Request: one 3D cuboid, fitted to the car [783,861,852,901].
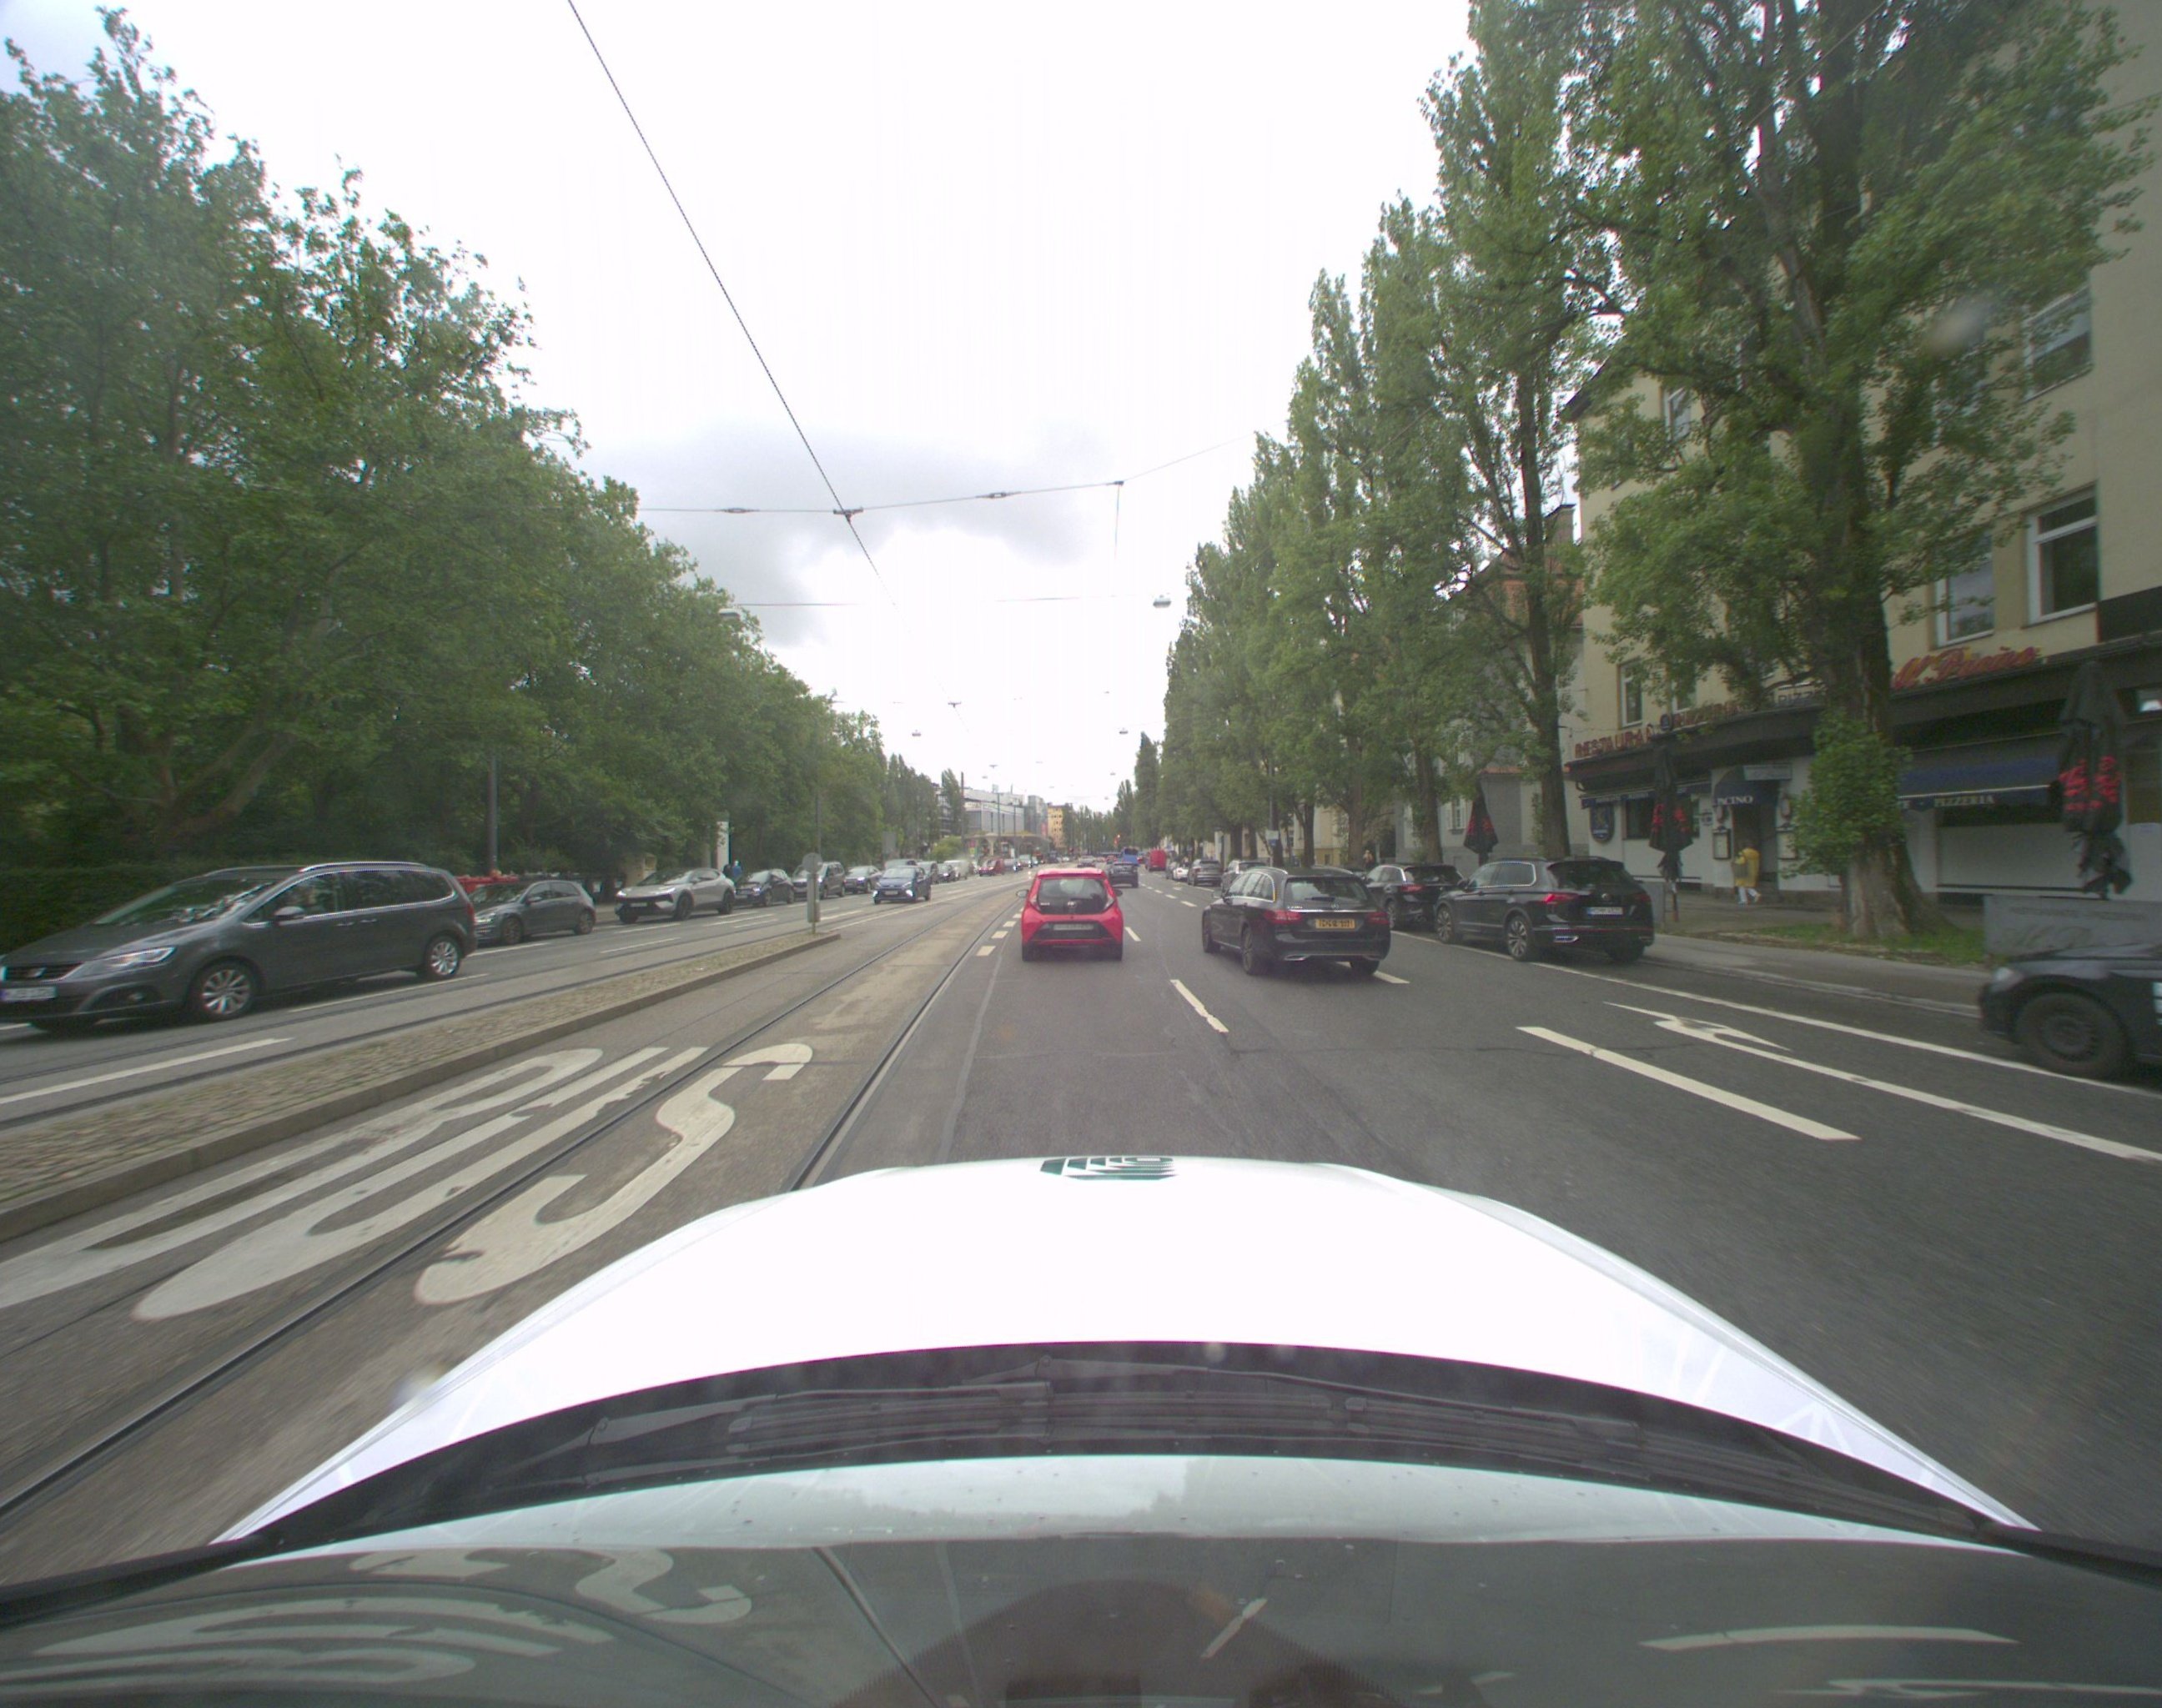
[{"bbox_3d":[-12.944,1.286,40.285,1.793,1.779,4.473,-2,-1,1],"label":"car"}]

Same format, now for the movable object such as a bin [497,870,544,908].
[{"bbox_3d":[-20.888,1.296,30.365,0.932,1.353,1.081,3,-1,-3],"label":"movable object such as a bin"}]

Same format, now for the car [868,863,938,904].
[{"bbox_3d":[-7.225,1.176,33.534,1.793,1.523,4.355,-2,-1,1],"label":"car"}]

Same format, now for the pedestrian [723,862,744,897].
[{"bbox_3d":[-17.804,1.309,41.744,0.660,1.790,0.820,0,-1,9],"label":"pedestrian"}]

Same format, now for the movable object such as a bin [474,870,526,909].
[{"bbox_3d":[-20.721,1.246,29.089,0.932,1.353,1.276,1,-1,-3],"label":"movable object such as a bin"}]

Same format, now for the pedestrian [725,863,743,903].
[{"bbox_3d":[-17.786,1.466,41.720,0.584,2.014,0.677,-1,-1,1],"label":"pedestrian"}]

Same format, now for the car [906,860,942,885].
[{"bbox_3d":[-12.122,1.431,63.145,1.793,1.788,4.520,-3,-1,1],"label":"car"}]

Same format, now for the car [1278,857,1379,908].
[{"bbox_3d":[7.580,0.828,25.346,1.793,1.398,4.381,-1,0,0],"label":"car"}]

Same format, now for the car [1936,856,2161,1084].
[{"bbox_3d":[7.955,0.747,4.679,1.795,1.466,3.995,-1,0,-3],"label":"car"}]

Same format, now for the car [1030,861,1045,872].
[{"bbox_3d":[-6.898,1.965,130.883,1.791,1.665,4.523,-3,-1,4],"label":"car"}]

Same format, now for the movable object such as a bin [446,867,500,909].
[{"bbox_3d":[-20.635,1.129,27.667,0.932,1.353,1.127,2,-1,-3],"label":"movable object such as a bin"}]

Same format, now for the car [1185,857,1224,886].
[{"bbox_3d":[7.809,1.068,51.845,1.793,1.743,4.699,-1,0,0],"label":"car"}]

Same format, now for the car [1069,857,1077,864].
[{"bbox_3d":[-1.900,1.471,191.435,1.774,1.486,4.001,-1,-1,1],"label":"car"}]

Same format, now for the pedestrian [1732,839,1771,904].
[{"bbox_3d":[16.608,0.426,20.171,0.571,1.562,0.496,-1,1,1],"label":"pedestrian"}]

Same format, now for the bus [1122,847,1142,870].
[{"bbox_3d":[8.362,0.611,134.280,2.895,3.395,10.809,-1,1,1],"label":"bus"}]

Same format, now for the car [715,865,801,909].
[{"bbox_3d":[-13.568,1.325,34.512,1.793,1.667,4.355,-2,-1,1],"label":"car"}]

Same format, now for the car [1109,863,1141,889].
[{"bbox_3d":[2.615,1.302,49.087,1.774,1.486,4.001,-1,-1,1],"label":"car"}]

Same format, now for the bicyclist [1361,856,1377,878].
[{"bbox_3d":[17.533,0.797,49.589,0.658,1.314,0.705,-1,-1,-1],"label":"bicyclist"}]

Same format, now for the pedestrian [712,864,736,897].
[{"bbox_3d":[-18.389,1.357,42.010,0.660,1.684,0.991,0,1,9],"label":"pedestrian"}]

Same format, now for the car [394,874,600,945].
[{"bbox_3d":[-13.468,1.221,19.139,1.815,1.381,4.099,-1,0,1],"label":"car"}]

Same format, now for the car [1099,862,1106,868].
[{"bbox_3d":[5.924,3.007,226.050,1.796,1.596,4.004,-1,-3,5],"label":"car"}]

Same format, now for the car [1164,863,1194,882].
[{"bbox_3d":[8.088,1.503,67.389,1.794,1.508,4.447,-1,-1,-2],"label":"car"}]

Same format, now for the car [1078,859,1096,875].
[{"bbox_3d":[0.645,1.331,83.479,1.730,1.549,4.577,-1,0,1],"label":"car"}]

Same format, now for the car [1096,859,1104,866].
[{"bbox_3d":[5.023,2.368,218.826,1.796,1.596,4.004,-1,-3,5],"label":"car"}]

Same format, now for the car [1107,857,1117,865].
[{"bbox_3d":[5.906,1.379,155.217,1.774,1.486,4.001,-1,0,1],"label":"car"}]

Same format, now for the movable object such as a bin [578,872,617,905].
[{"bbox_3d":[-20.396,1.451,34.403,0.932,1.353,1.157,2,-1,-3],"label":"movable object such as a bin"}]

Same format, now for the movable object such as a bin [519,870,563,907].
[{"bbox_3d":[-20.872,1.328,31.499,0.932,1.353,1.081,2,-1,-3],"label":"movable object such as a bin"}]

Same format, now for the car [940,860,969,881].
[{"bbox_3d":[-11.868,1.515,76.612,1.793,1.861,4.631,-3,-1,1],"label":"car"}]

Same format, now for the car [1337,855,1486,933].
[{"bbox_3d":[7.693,0.869,19.433,1.793,1.612,4.304,-1,0,0],"label":"car"}]

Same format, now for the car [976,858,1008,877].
[{"bbox_3d":[-9.560,1.435,87.951,1.786,1.788,4.536,-3,-1,14],"label":"car"}]

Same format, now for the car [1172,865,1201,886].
[{"bbox_3d":[8.006,1.588,62.004,1.793,1.508,4.001,-1,-1,1],"label":"car"}]

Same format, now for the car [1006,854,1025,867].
[{"bbox_3d":[-8.448,0.862,105.436,1.792,1.530,4.522,-3,-1,3],"label":"car"}]

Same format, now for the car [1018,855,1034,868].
[{"bbox_3d":[-7.831,1.083,116.736,1.792,1.665,4.521,-3,-1,2],"label":"car"}]

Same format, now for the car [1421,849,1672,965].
[{"bbox_3d":[7.606,0.774,13.906,1.716,1.612,4.470,-1,0,0],"label":"car"}]

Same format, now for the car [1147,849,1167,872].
[{"bbox_3d":[9.034,0.698,96.925,1.986,2.574,4.681,-1,1,1],"label":"car"}]

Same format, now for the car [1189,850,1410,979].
[{"bbox_3d":[3.028,0.735,12.448,1.859,1.549,4.697,-2,0,-3],"label":"car"}]

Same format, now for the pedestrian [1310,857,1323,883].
[{"bbox_3d":[15.714,1.053,54.345,0.589,1.738,0.824,-1,1,1],"label":"pedestrian"}]

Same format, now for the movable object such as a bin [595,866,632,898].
[{"bbox_3d":[-20.463,1.201,35.653,0.932,1.353,1.157,2,-1,-3],"label":"movable object such as a bin"}]

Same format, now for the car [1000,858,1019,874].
[{"bbox_3d":[-8.460,1.395,96.779,1.794,1.788,4.517,-3,-1,0],"label":"car"}]

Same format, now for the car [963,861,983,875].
[{"bbox_3d":[-12.918,1.698,97.419,1.794,1.530,4.516,-3,-1,-1],"label":"car"}]

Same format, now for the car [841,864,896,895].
[{"bbox_3d":[-12.201,1.410,47.036,1.793,1.634,4.589,-2,-1,1],"label":"car"}]

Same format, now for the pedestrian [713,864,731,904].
[{"bbox_3d":[-18.395,1.535,41.744,0.584,2.014,0.677,-1,-1,1],"label":"pedestrian"}]

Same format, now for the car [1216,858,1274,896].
[{"bbox_3d":[7.633,1.029,38.304,1.793,1.612,4.546,-1,0,0],"label":"car"}]

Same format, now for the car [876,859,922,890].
[{"bbox_3d":[-12.253,1.352,55.108,1.793,1.991,5.040,-2,-1,1],"label":"car"}]

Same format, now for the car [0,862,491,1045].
[{"bbox_3d":[-10.072,0.971,10.133,1.815,1.683,4.891,-1,0,1],"label":"car"}]

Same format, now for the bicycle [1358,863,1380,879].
[{"bbox_3d":[17.538,1.050,49.577,0.650,0.923,1.902,-1,0,-1],"label":"bicycle"}]

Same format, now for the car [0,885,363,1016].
[{"bbox_3d":[-13.303,1.292,11.979,1.725,1.411,4.103,-4,-1,1],"label":"car"}]

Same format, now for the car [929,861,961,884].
[{"bbox_3d":[-11.540,1.535,69.371,1.793,1.788,4.520,-3,-1,1],"label":"car"}]

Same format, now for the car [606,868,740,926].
[{"bbox_3d":[-13.292,1.325,26.963,1.793,1.643,5.000,-2,-1,1],"label":"car"}]

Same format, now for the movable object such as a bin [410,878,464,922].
[{"bbox_3d":[-20.705,1.471,26.217,0.932,1.353,1.012,0,-1,-4],"label":"movable object such as a bin"}]

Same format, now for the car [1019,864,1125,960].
[{"bbox_3d":[-0.173,0.904,14.121,1.624,1.440,3.374,0,0,-1],"label":"car"}]
